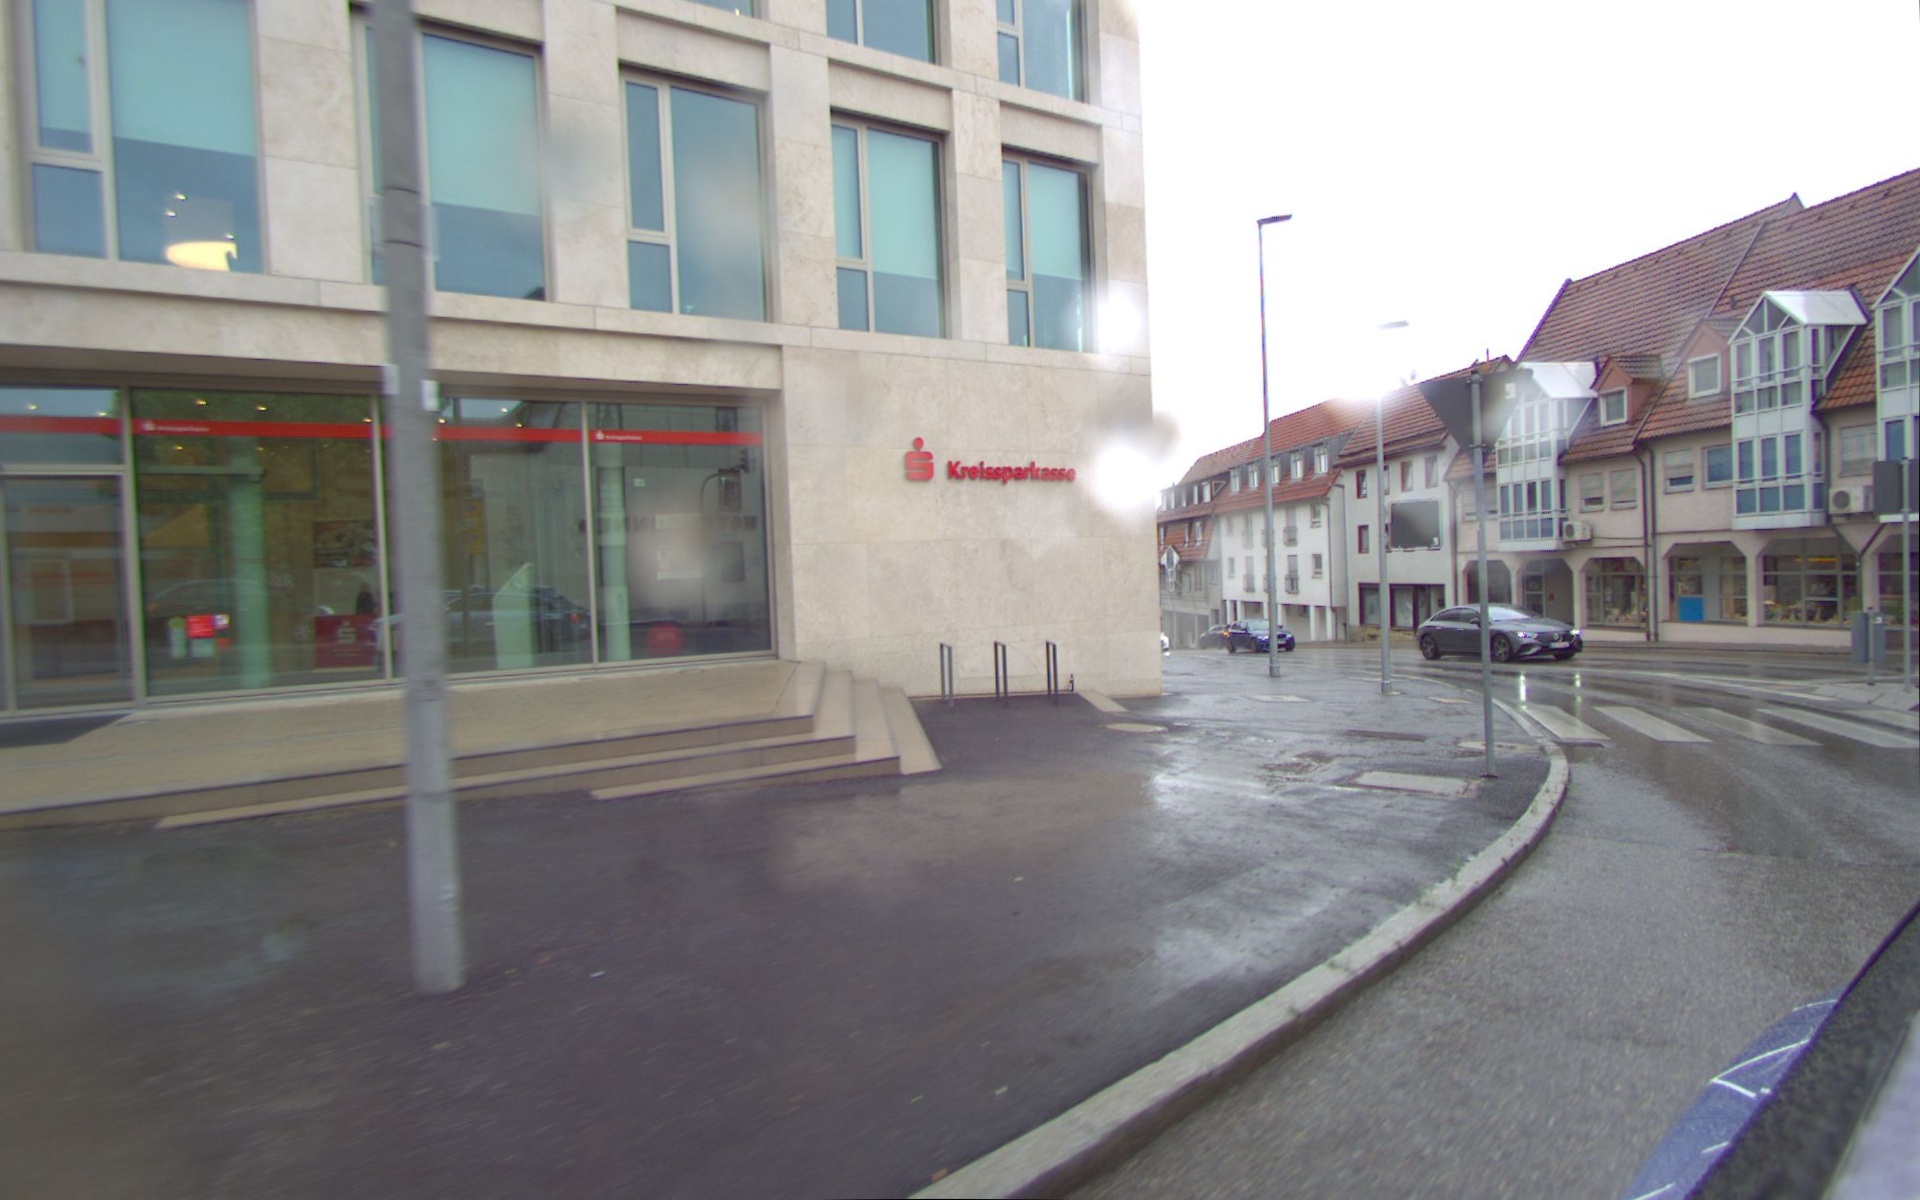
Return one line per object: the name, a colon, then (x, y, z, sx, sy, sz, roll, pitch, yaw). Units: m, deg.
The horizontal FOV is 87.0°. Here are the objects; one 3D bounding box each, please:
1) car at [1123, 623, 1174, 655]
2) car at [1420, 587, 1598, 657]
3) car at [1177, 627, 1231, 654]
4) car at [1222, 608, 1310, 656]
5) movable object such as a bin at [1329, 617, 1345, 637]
car: (11.070, 2.340, 59.674, 1.931, 1.629, 4.381, -3, -4, -2)
car: (14.356, 0.648, 26.840, 1.930, 1.578, 4.622, -3, -3, -3)
car: (14.395, 2.387, 60.018, 1.855, 1.486, 4.002, -1, -2, -6)
car: (12.998, 1.415, 43.303, 1.929, 1.793, 4.385, -3, -4, -6)
movable object such as a bin: (20.200, 1.430, 54.199, 0.499, 1.020, 0.585, -3, -3, -7)
